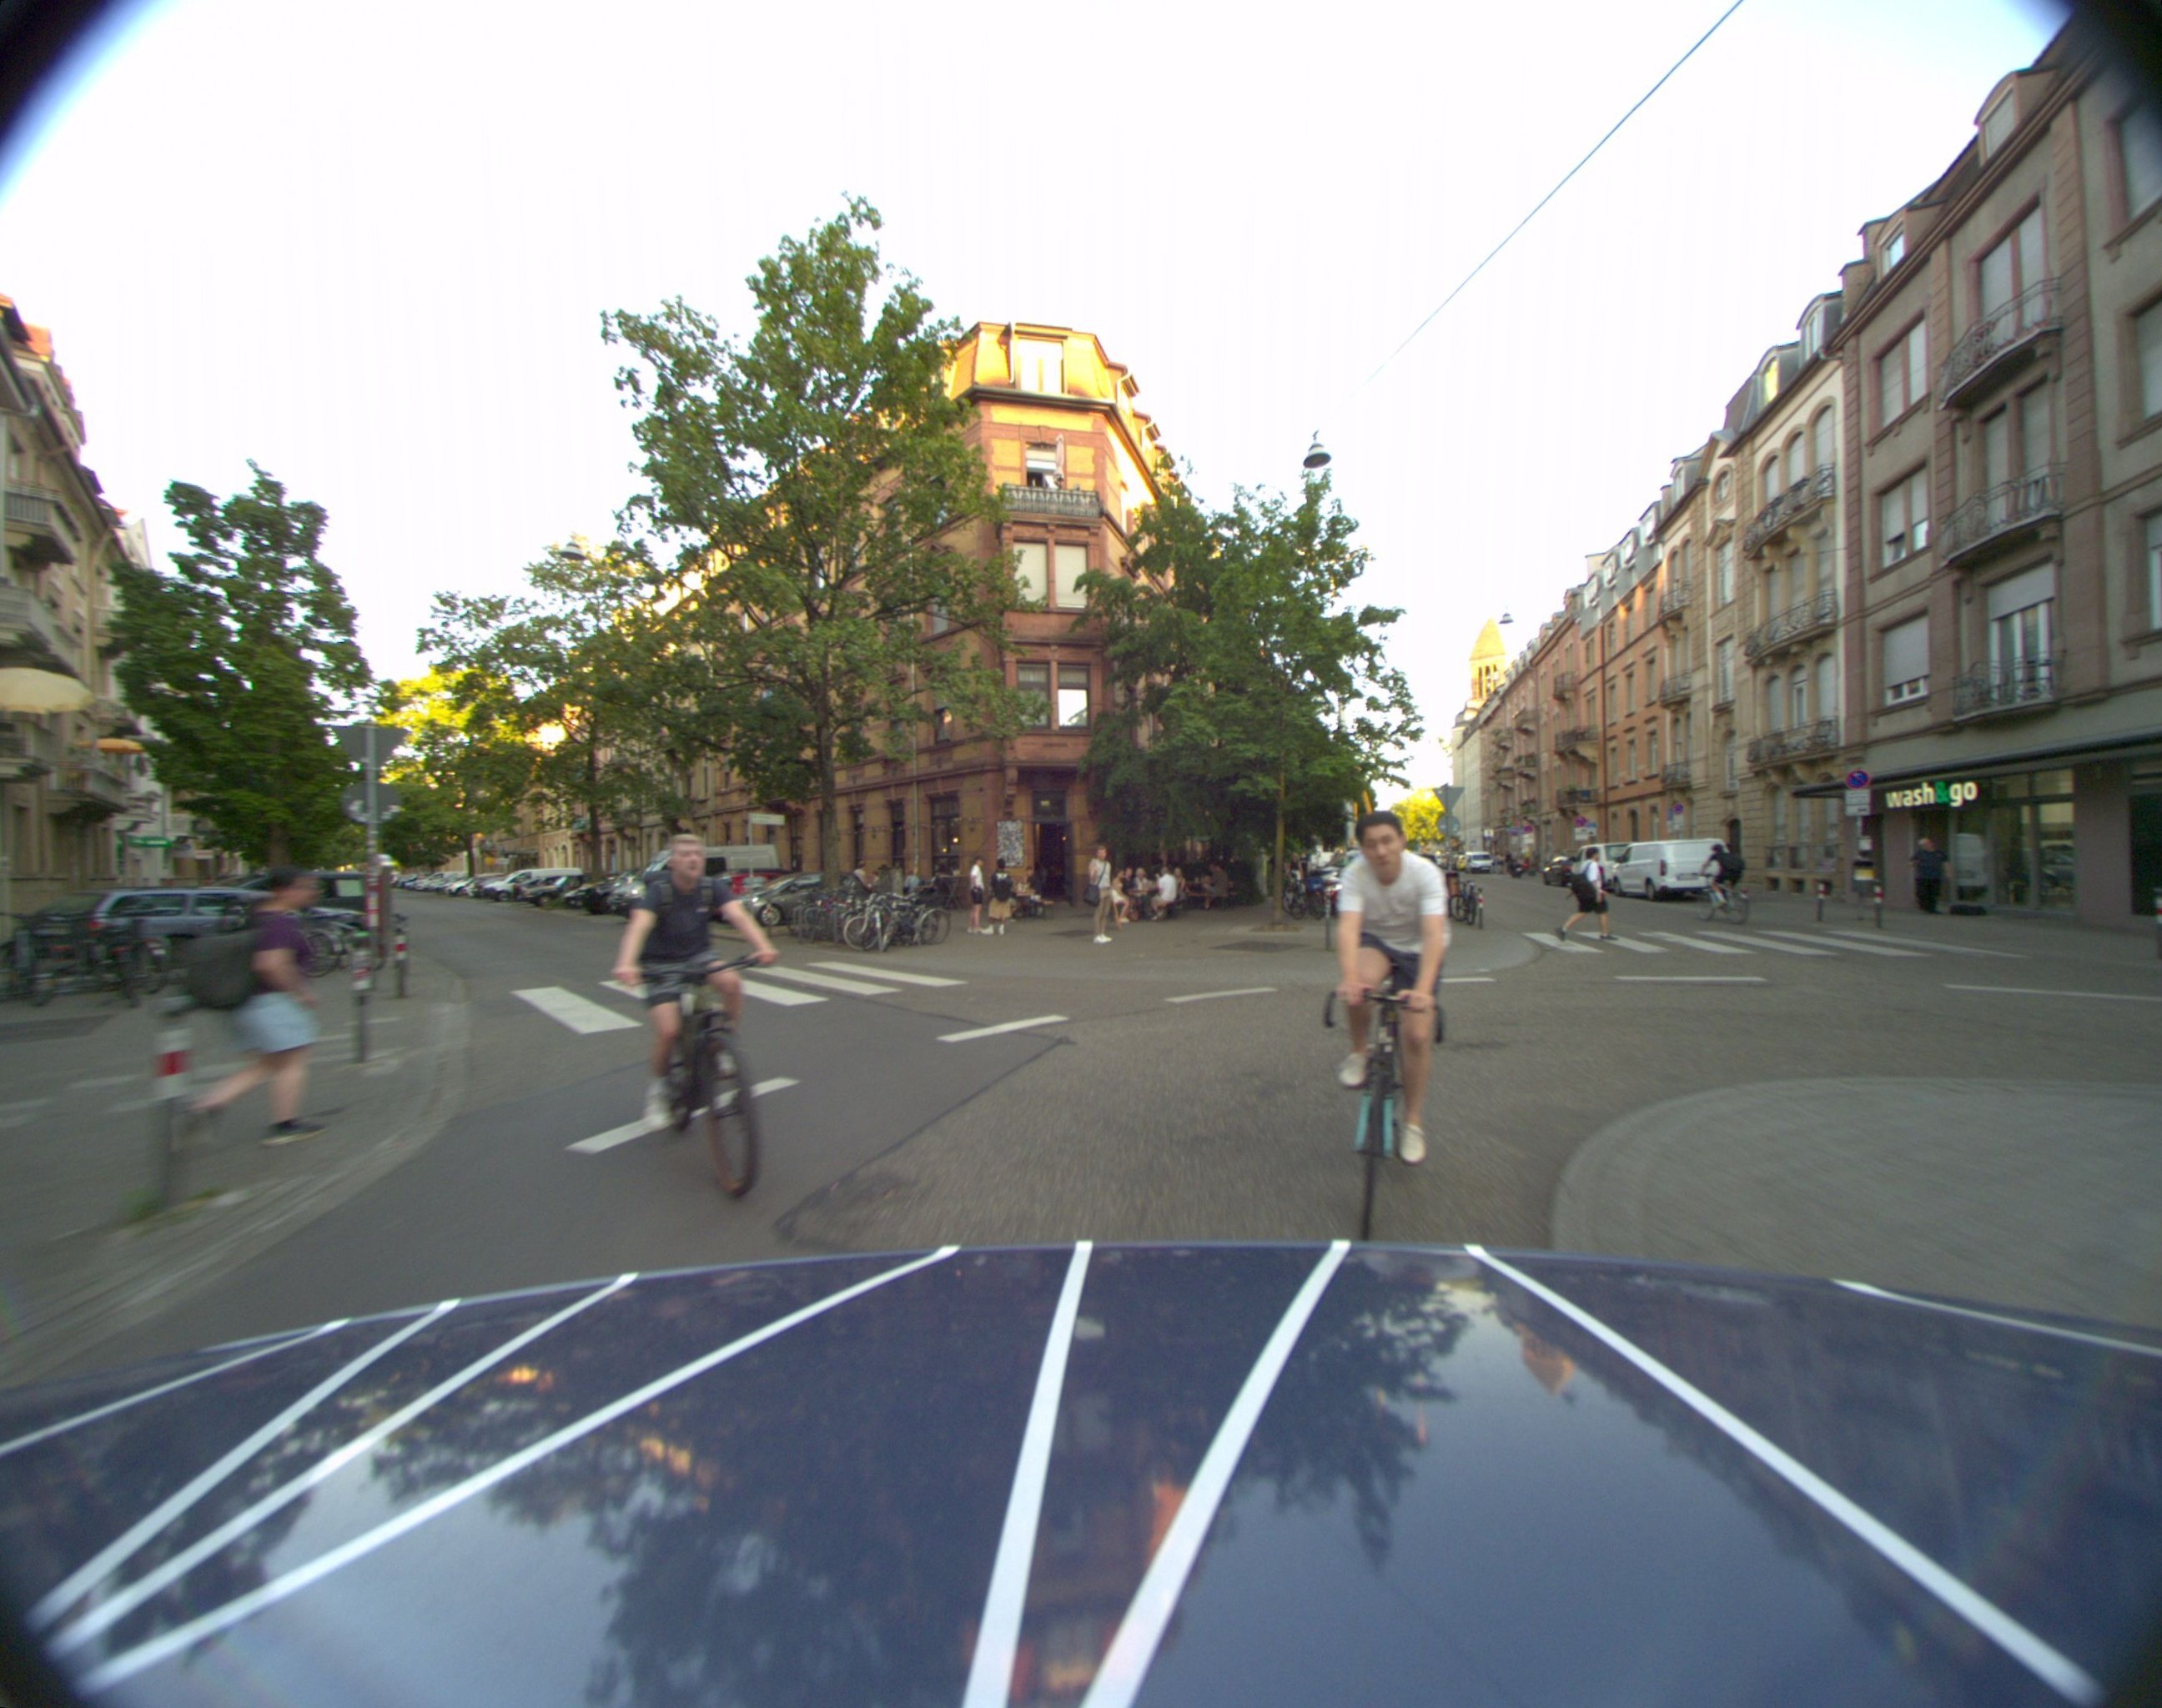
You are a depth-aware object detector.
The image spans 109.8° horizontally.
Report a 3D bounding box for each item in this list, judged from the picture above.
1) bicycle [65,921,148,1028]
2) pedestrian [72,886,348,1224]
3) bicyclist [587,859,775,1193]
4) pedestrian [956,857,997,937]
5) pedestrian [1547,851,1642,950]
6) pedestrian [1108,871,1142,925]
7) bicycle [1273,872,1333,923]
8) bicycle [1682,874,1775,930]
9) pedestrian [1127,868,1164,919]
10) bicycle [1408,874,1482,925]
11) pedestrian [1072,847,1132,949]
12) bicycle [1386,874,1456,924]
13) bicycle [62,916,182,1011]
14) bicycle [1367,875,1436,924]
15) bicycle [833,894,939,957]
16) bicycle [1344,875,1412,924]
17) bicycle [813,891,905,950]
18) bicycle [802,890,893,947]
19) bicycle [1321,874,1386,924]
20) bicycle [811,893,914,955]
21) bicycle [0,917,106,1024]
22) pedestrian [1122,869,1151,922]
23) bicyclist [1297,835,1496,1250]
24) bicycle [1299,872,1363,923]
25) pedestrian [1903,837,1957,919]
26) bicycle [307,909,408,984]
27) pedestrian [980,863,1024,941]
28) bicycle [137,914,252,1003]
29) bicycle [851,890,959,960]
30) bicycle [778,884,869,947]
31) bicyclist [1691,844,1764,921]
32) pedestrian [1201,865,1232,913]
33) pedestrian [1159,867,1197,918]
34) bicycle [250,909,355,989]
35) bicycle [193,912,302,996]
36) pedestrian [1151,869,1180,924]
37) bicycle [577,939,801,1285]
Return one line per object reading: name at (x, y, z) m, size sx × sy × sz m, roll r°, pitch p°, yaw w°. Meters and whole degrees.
bicycle at (-11.717, 1.398, 9.154) m, size 1.779 × 1.076 × 0.571 m, roll -1°, pitch -1°, yaw 38°
pedestrian at (-4.628, 0.981, 4.113) m, size 0.870 × 1.597 × 0.537 m, roll 0°, pitch -1°, yaw -36°
bicyclist at (-2.185, 0.831, 4.162) m, size 0.796 × 1.562 × 0.824 m, roll -2°, pitch -1°, yaw -30°
pedestrian at (-2.335, 0.957, 17.085) m, size 0.674 × 1.735 × 0.641 m, roll -2°, pitch 1°, yaw 12°
pedestrian at (9.489, 0.839, 14.065) m, size 1.212 × 1.733 × 0.749 m, roll -2°, pitch 0°, yaw -5°
pedestrian at (1.073, 1.064, 18.578) m, size 0.675 × 1.265 × 0.640 m, roll -2°, pitch 1°, yaw -7°
bicycle at (5.580, 1.070, 19.234) m, size 0.665 × 1.158 × 2.114 m, roll 1°, pitch 0°, yaw -7°
bicycle at (14.269, 1.031, 16.820) m, size 0.753 × 1.124 × 1.978 m, roll -1°, pitch -1°, yaw 15°
pedestrian at (1.698, 1.024, 19.913) m, size 0.642 × 1.265 × 0.673 m, roll -3°, pitch 2°, yaw -43°
bicycle at (9.342, 1.145, 19.595) m, size 0.665 × 1.162 × 2.114 m, roll 1°, pitch 0°, yaw -7°
pedestrian at (0.410, 0.812, 14.538) m, size 0.673 × 1.858 × 0.912 m, roll -1°, pitch 1°, yaw 35°
bicycle at (8.855, 1.139, 19.911) m, size 0.665 × 1.162 × 2.114 m, roll 1°, pitch 0°, yaw -7°
bicycle at (-12.671, 1.404, 10.034) m, size 1.779 × 1.076 × 0.571 m, roll 0°, pitch 0°, yaw 25°
bicycle at (8.237, 1.144, 19.639) m, size 0.665 × 1.125 × 2.114 m, roll 1°, pitch 0°, yaw -7°
bicycle at (-3.869, 1.395, 15.179) m, size 1.888 × 1.045 × 0.710 m, roll -3°, pitch 1°, yaw -43°
bicycle at (7.580, 1.130, 19.515) m, size 0.665 × 1.125 × 2.114 m, roll 1°, pitch 0°, yaw -7°
bicycle at (-4.790, 1.403, 16.530) m, size 0.711 × 1.072 × 1.887 m, roll -2°, pitch 1°, yaw 31°
bicycle at (-5.178, 1.404, 16.972) m, size 0.711 × 1.072 × 1.887 m, roll -2°, pitch 1°, yaw 31°
bicycle at (6.899, 1.108, 19.385) m, size 0.665 × 1.125 × 2.114 m, roll 1°, pitch 0°, yaw -7°
bicycle at (-4.468, 1.401, 15.635) m, size 1.888 × 1.052 × 0.710 m, roll -3°, pitch 1°, yaw -43°
bicycle at (-12.801, 1.376, 9.293) m, size 1.779 × 1.105 × 0.684 m, roll 0°, pitch 0°, yaw 25°
pedestrian at (1.411, 1.035, 19.119) m, size 0.674 × 1.265 × 0.641 m, roll -2°, pitch 1°, yaw 5°
bicyclist at (1.355, 0.680, 3.290) m, size 0.649 × 1.500 × 0.955 m, roll -2°, pitch 1°, yaw 23°
bicycle at (6.308, 1.079, 19.297) m, size 0.665 × 1.158 × 2.114 m, roll 1°, pitch 0°, yaw -7°
pedestrian at (18.933, 0.534, 16.957) m, size 0.654 × 1.768 × 0.693 m, roll -2°, pitch -1°, yaw 38°
bicycle at (-11.789, 1.470, 12.372) m, size 1.779 × 1.076 × 0.571 m, roll 0°, pitch 0°, yaw 25°
pedestrian at (-1.730, 1.028, 16.625) m, size 0.641 × 1.628 × 0.673 m, roll -3°, pitch 1°, yaw -33°
bicycle at (-12.359, 1.420, 10.585) m, size 1.779 × 1.076 × 0.571 m, roll 0°, pitch 0°, yaw 25°
bicycle at (-3.367, 1.330, 14.678) m, size 1.888 × 1.148 × 0.710 m, roll -3°, pitch 1°, yaw -43°
bicycle at (-5.762, 1.343, 17.116) m, size 0.711 × 1.232 × 1.887 m, roll -2°, pitch 1°, yaw 31°
bicyclist at (14.251, 0.616, 16.778) m, size 0.753 × 1.630 × 1.203 m, roll -1°, pitch 0°, yaw 14°
pedestrian at (3.756, 0.971, 21.121) m, size 0.720 × 1.297 × 0.751 m, roll -1°, pitch 0°, yaw 1°
pedestrian at (2.531, 1.001, 19.823) m, size 0.676 × 1.265 × 0.639 m, roll -3°, pitch 1°, yaw -31°
bicycle at (-12.078, 1.440, 11.779) m, size 1.779 × 1.076 × 0.571 m, roll 0°, pitch 0°, yaw 25°
bicycle at (-12.322, 1.442, 11.223) m, size 1.779 × 1.076 × 0.571 m, roll 0°, pitch 0°, yaw 25°
pedestrian at (2.064, 1.027, 18.546) m, size 0.640 × 1.265 × 0.675 m, roll -2°, pitch 1°, yaw 6°
bicycle at (-2.175, 1.133, 4.156) m, size 0.796 × 1.132 × 2.338 m, roll -2°, pitch -1°, yaw -30°
